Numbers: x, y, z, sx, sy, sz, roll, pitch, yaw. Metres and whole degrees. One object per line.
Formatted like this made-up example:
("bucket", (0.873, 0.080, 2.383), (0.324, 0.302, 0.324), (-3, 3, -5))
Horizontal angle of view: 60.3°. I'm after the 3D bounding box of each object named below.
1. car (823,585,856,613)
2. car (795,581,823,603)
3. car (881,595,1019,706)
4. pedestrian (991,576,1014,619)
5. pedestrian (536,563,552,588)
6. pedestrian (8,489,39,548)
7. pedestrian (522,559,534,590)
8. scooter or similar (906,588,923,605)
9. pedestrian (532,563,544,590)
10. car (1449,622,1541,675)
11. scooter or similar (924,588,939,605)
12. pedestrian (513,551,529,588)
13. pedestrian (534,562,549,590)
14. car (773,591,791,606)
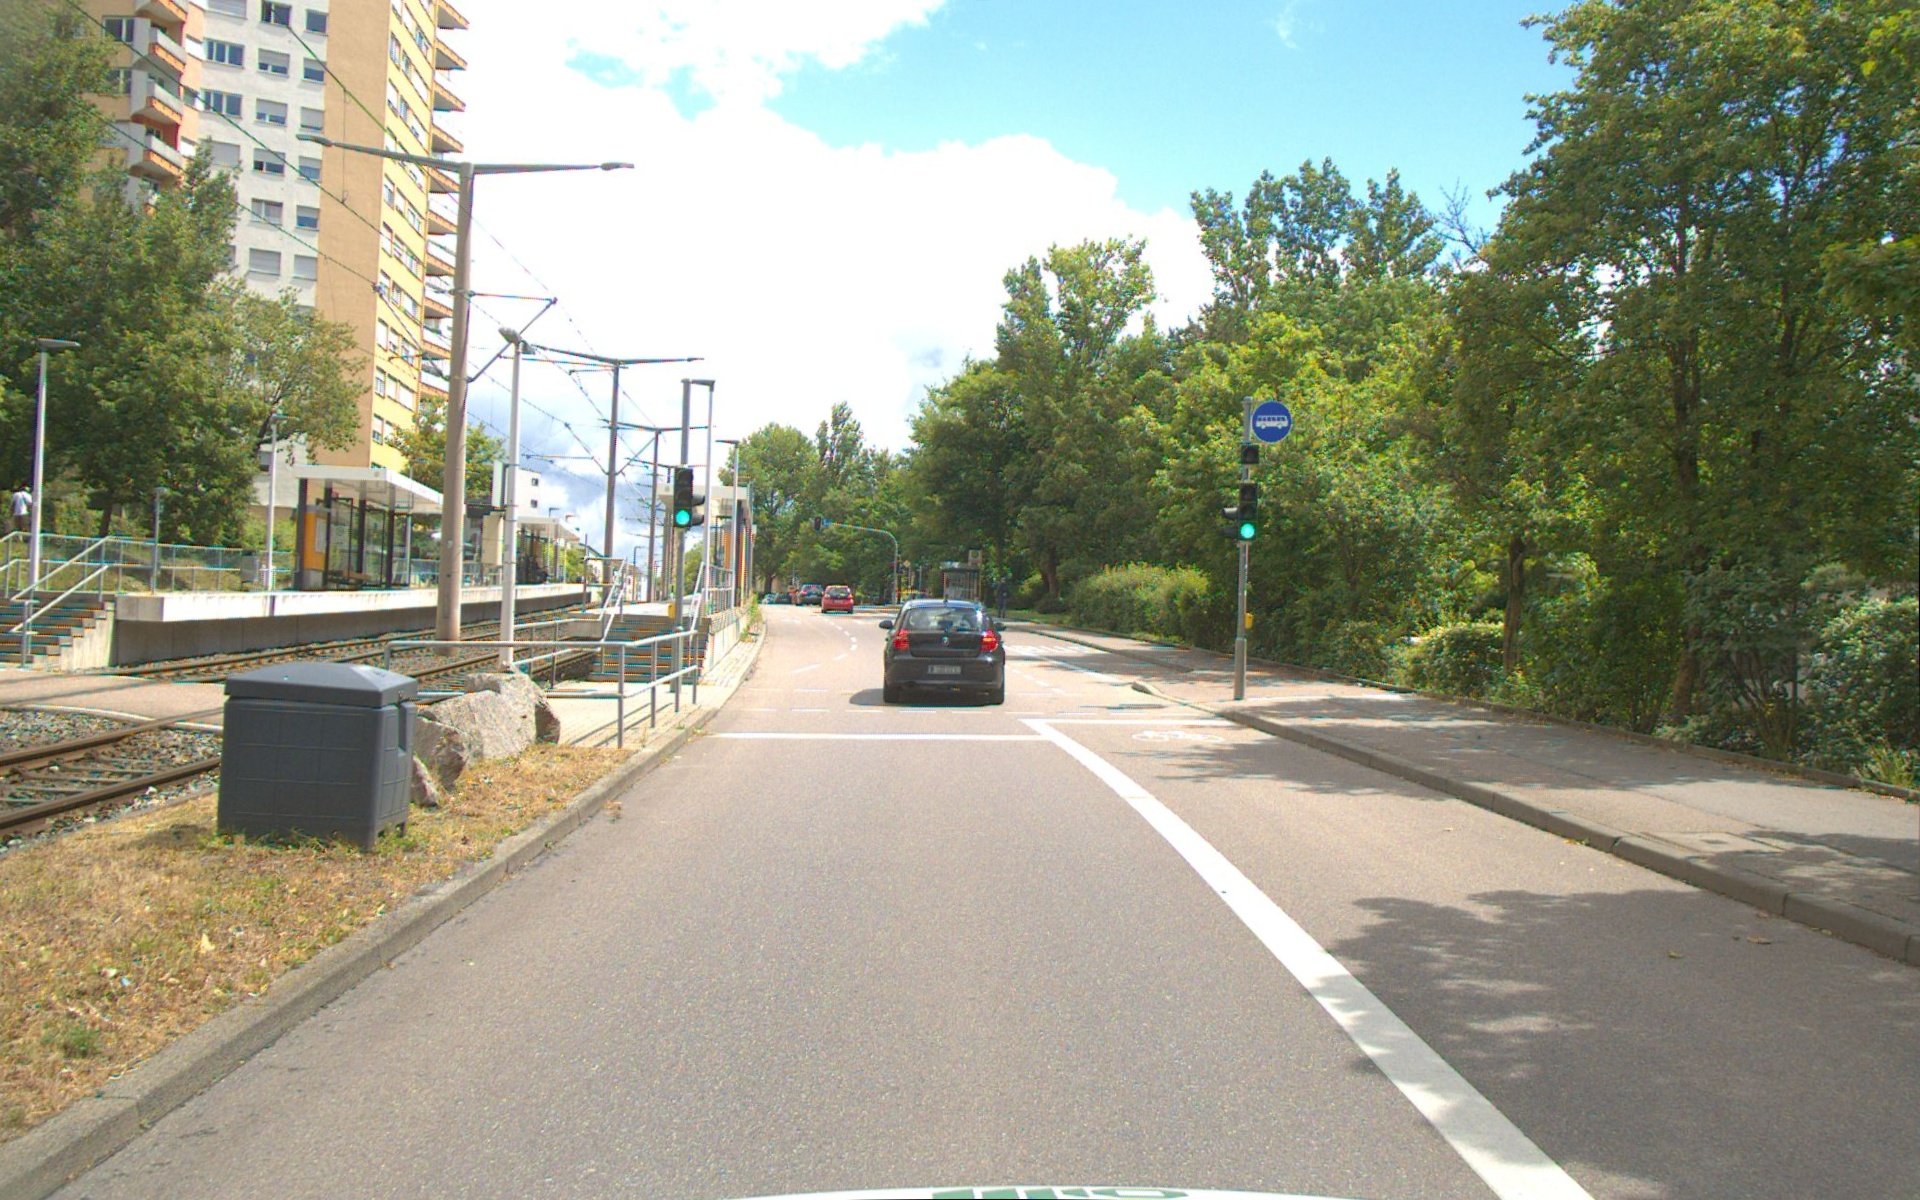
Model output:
("car", (-6.425, -0.049, 88.149), (1.564, 1.443, 3.511), (1, 0, -7))
("car", (-10.296, -0.561, 112.325), (1.624, 1.443, 3.509), (1, 0, -9))
("car", (-0.215, 0.670, 23.755), (1.622, 1.443, 3.512), (1, 0, -6))
("pedestrian", (1.948, -0.130, 75.877), (0.786, 1.928, 1.268), (3, 0, -7))
("pedestrian", (-20.672, -1.212, 82.175), (0.728, 1.258, 0.517), (1, 0, -8))
("pedestrian", (-28.158, -2.460, 49.746), (0.638, 1.742, 0.503), (1, 0, -8))
("pedestrian", (-20.203, -1.203, 77.376), (0.533, 1.404, 0.519), (1, -3, -17))
("scooter or similar", (-3.486, -0.263, 125.987), (1.271, 1.210, 0.382), (1, 0, -24))
("pedestrian", (-20.390, -1.138, 79.953), (0.512, 1.258, 0.540), (1, 0, -20))
("car", (18.587, 1.675, 57.637), (1.787, 1.646, 3.999), (2, 0, -1))
("scooter or similar", (-2.195, -0.272, 127.068), (1.090, 1.280, 0.330), (1, 0, -20))
("pedestrian", (-20.318, -1.406, 76.606), (0.516, 1.673, 0.556), (1, 0, -40))
("pedestrian", (-20.569, -1.179, 81.221), (0.631, 1.393, 0.506), (1, 0, -8))
("car", (-17.792, -0.164, 165.213), (1.622, 1.443, 3.514), (1, 0, -4))
